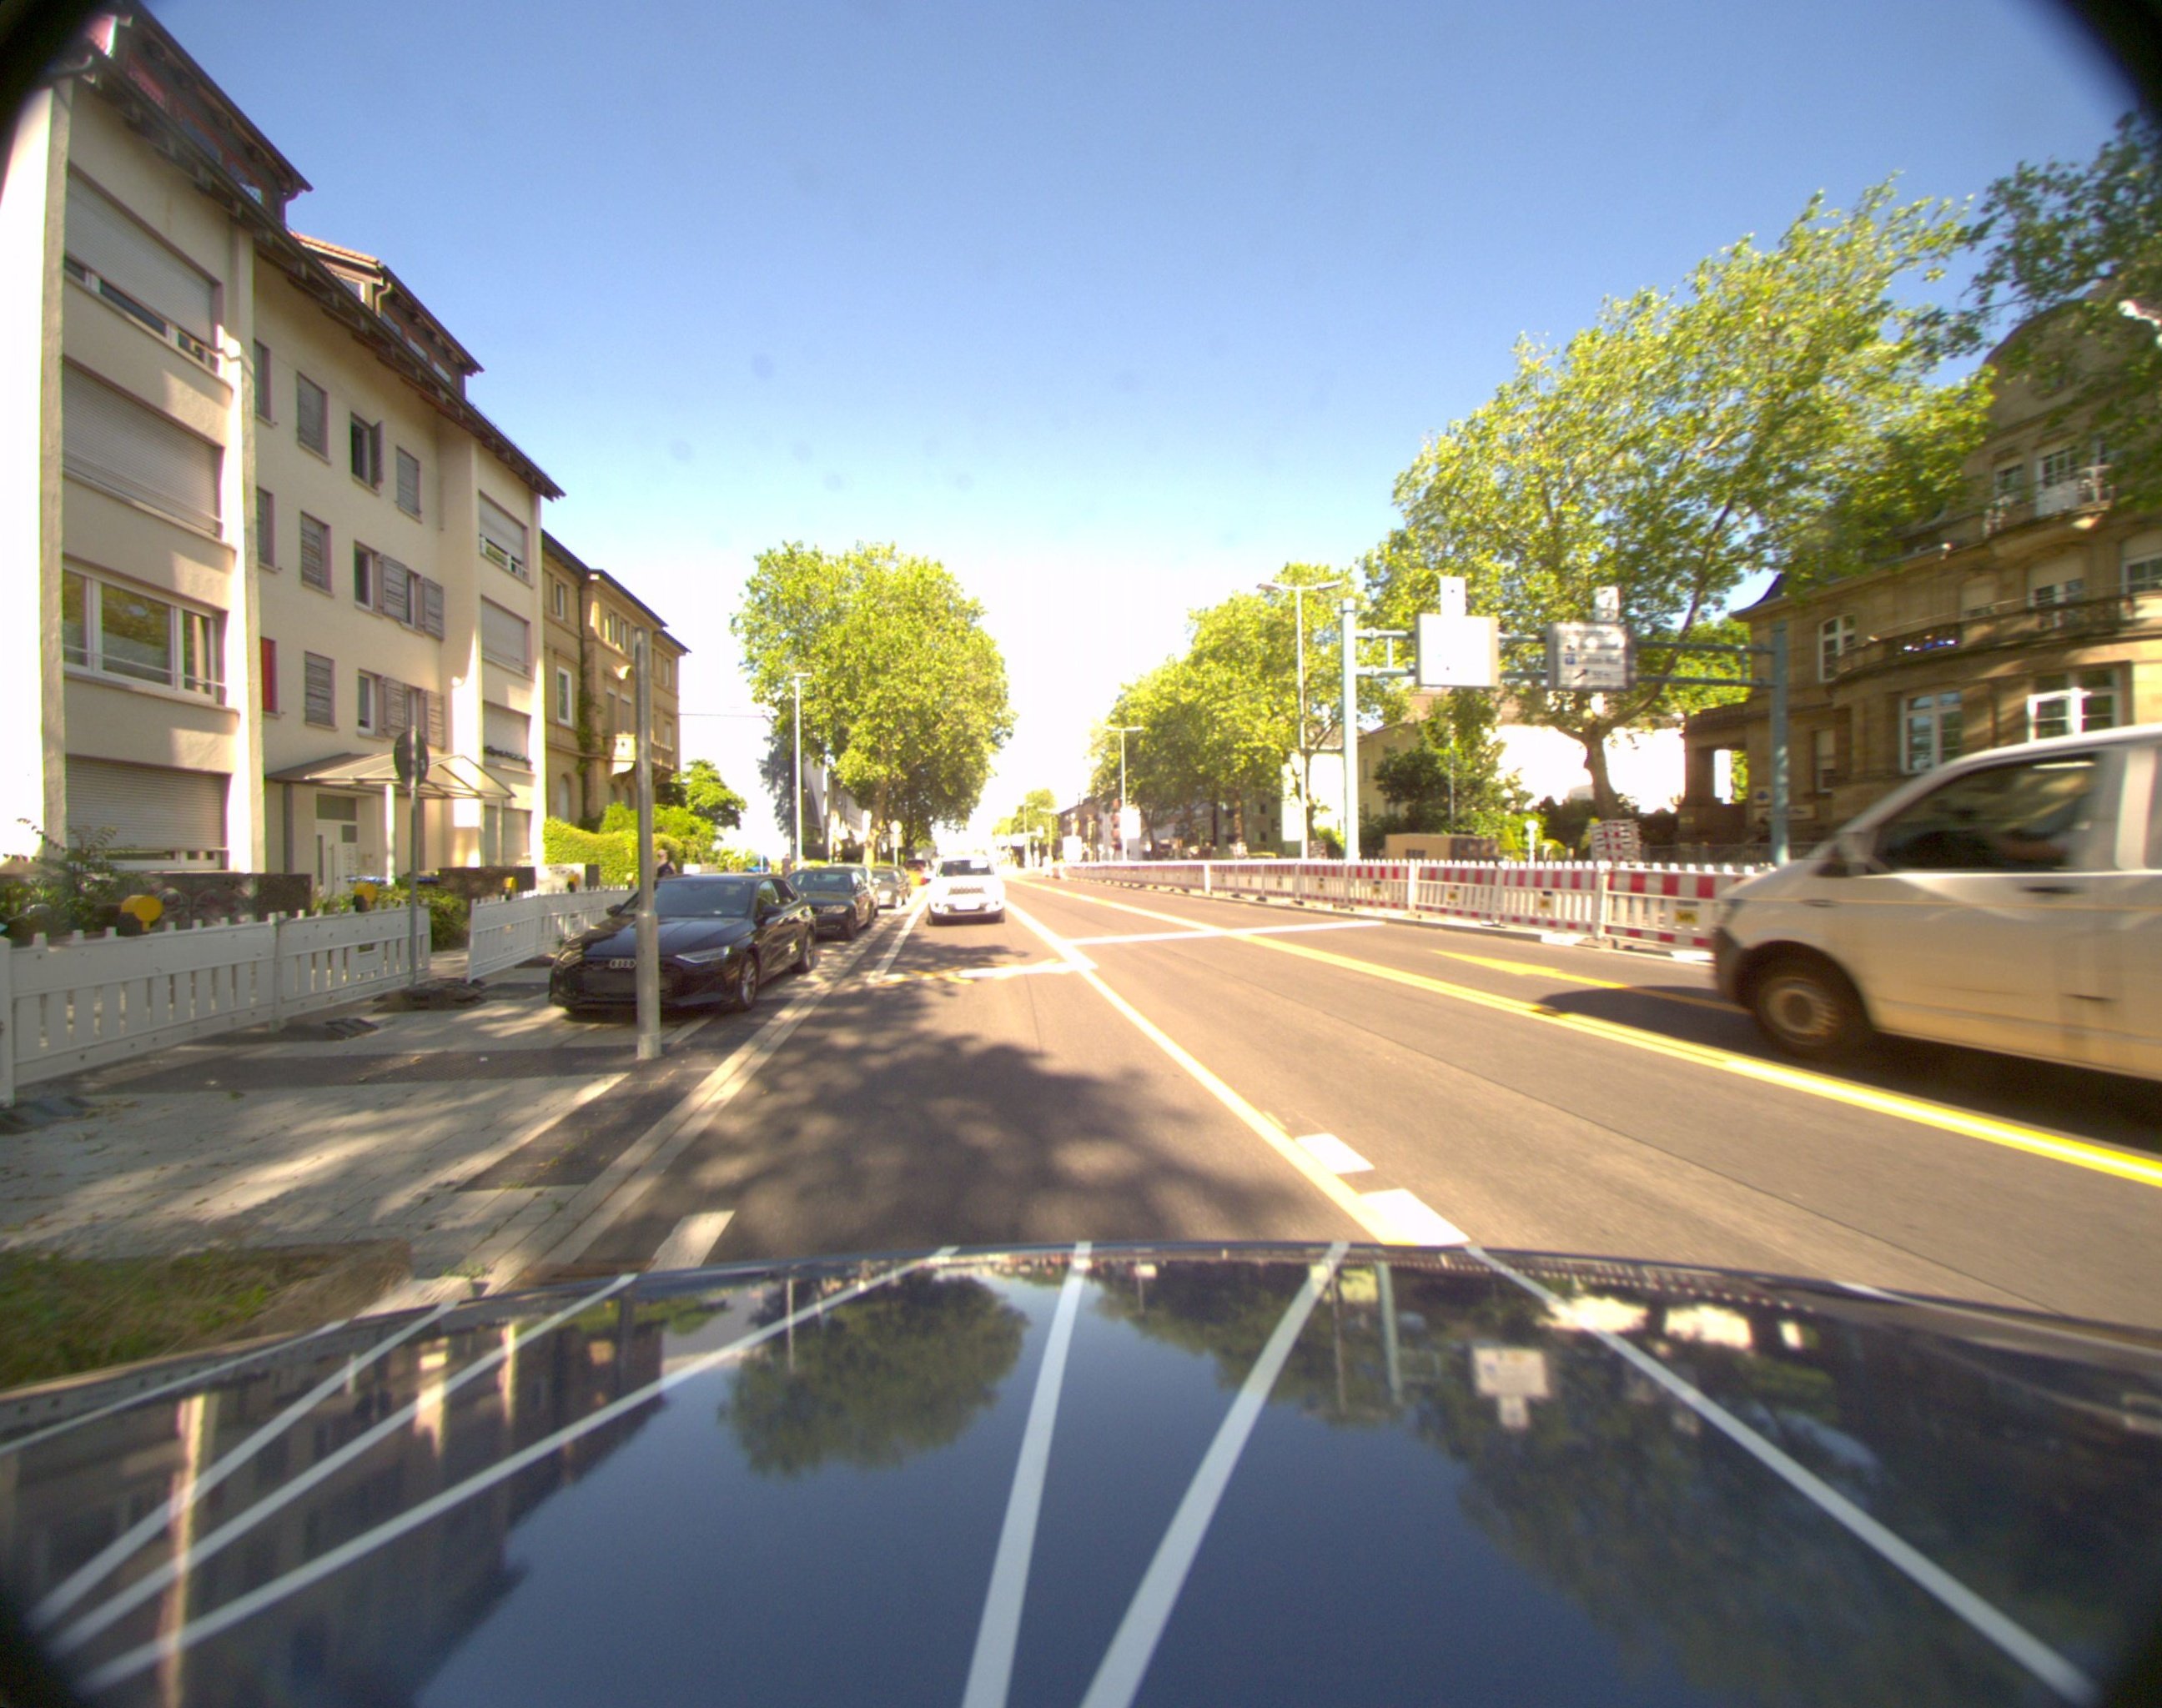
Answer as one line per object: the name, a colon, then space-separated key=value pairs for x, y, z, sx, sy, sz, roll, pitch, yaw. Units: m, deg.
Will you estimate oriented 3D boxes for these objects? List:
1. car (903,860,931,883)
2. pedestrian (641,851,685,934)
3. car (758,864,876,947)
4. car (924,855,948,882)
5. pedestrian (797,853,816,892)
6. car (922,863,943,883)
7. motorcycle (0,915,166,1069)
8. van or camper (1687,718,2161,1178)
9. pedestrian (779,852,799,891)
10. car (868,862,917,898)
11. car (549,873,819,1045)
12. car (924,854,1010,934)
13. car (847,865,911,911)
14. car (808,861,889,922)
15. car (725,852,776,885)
car: x=-11.417 y=1.213 z=53.025 sx=1.675 sy=1.508 sz=3.994 roll=0 pitch=0 yaw=-9
pedestrian: x=-9.512 y=0.850 z=17.294 sx=0.667 sy=1.838 sz=0.693 roll=0 pitch=0 yaw=-9
car: x=-5.351 y=0.968 z=15.863 sx=1.625 sy=1.477 sz=4.053 roll=1 pitch=0 yaw=-9
car: x=-11.272 y=1.093 z=59.270 sx=1.755 sy=1.954 sz=4.503 roll=0 pitch=0 yaw=-9
pedestrian: x=-12.847 y=0.861 z=35.550 sx=0.699 sy=1.785 sz=0.714 roll=-1 pitch=0 yaw=-9
car: x=-13.013 y=1.642 z=66.652 sx=1.632 sy=1.625 sz=4.217 roll=0 pitch=0 yaw=-9
motorcycle: x=-9.200 y=1.185 z=6.616 sx=0.598 sy=1.179 sz=1.555 roll=-1 pitch=0 yaw=-2
van or camper: x=5.757 y=0.381 z=2.956 sx=2.000 sy=2.002 sz=5.324 roll=-2 pitch=0 yaw=-9
pedestrian: x=-13.648 y=0.799 z=35.477 sx=0.699 sy=1.785 sz=0.801 roll=-1 pitch=0 yaw=-9
car: x=-8.305 y=1.107 z=33.748 sx=1.722 sy=1.404 sz=4.472 roll=2 pitch=0 yaw=-9
car: x=-4.353 y=1.014 z=9.059 sx=1.625 sy=1.477 sz=4.094 roll=1 pitch=0 yaw=-9
car: x=-2.921 y=0.898 z=19.354 sx=1.870 sy=1.716 sz=4.503 roll=-2 pitch=0 yaw=-9
car: x=-6.924 y=1.127 z=26.365 sx=1.722 sy=1.404 sz=4.045 roll=1 pitch=0 yaw=-9
car: x=-6.263 y=0.962 z=20.817 sx=1.625 sy=1.477 sz=3.730 roll=1 pitch=0 yaw=-9
car: x=-19.533 y=0.812 z=44.842 sx=1.803 sy=1.811 sz=3.989 roll=-1 pitch=0 yaw=-39
